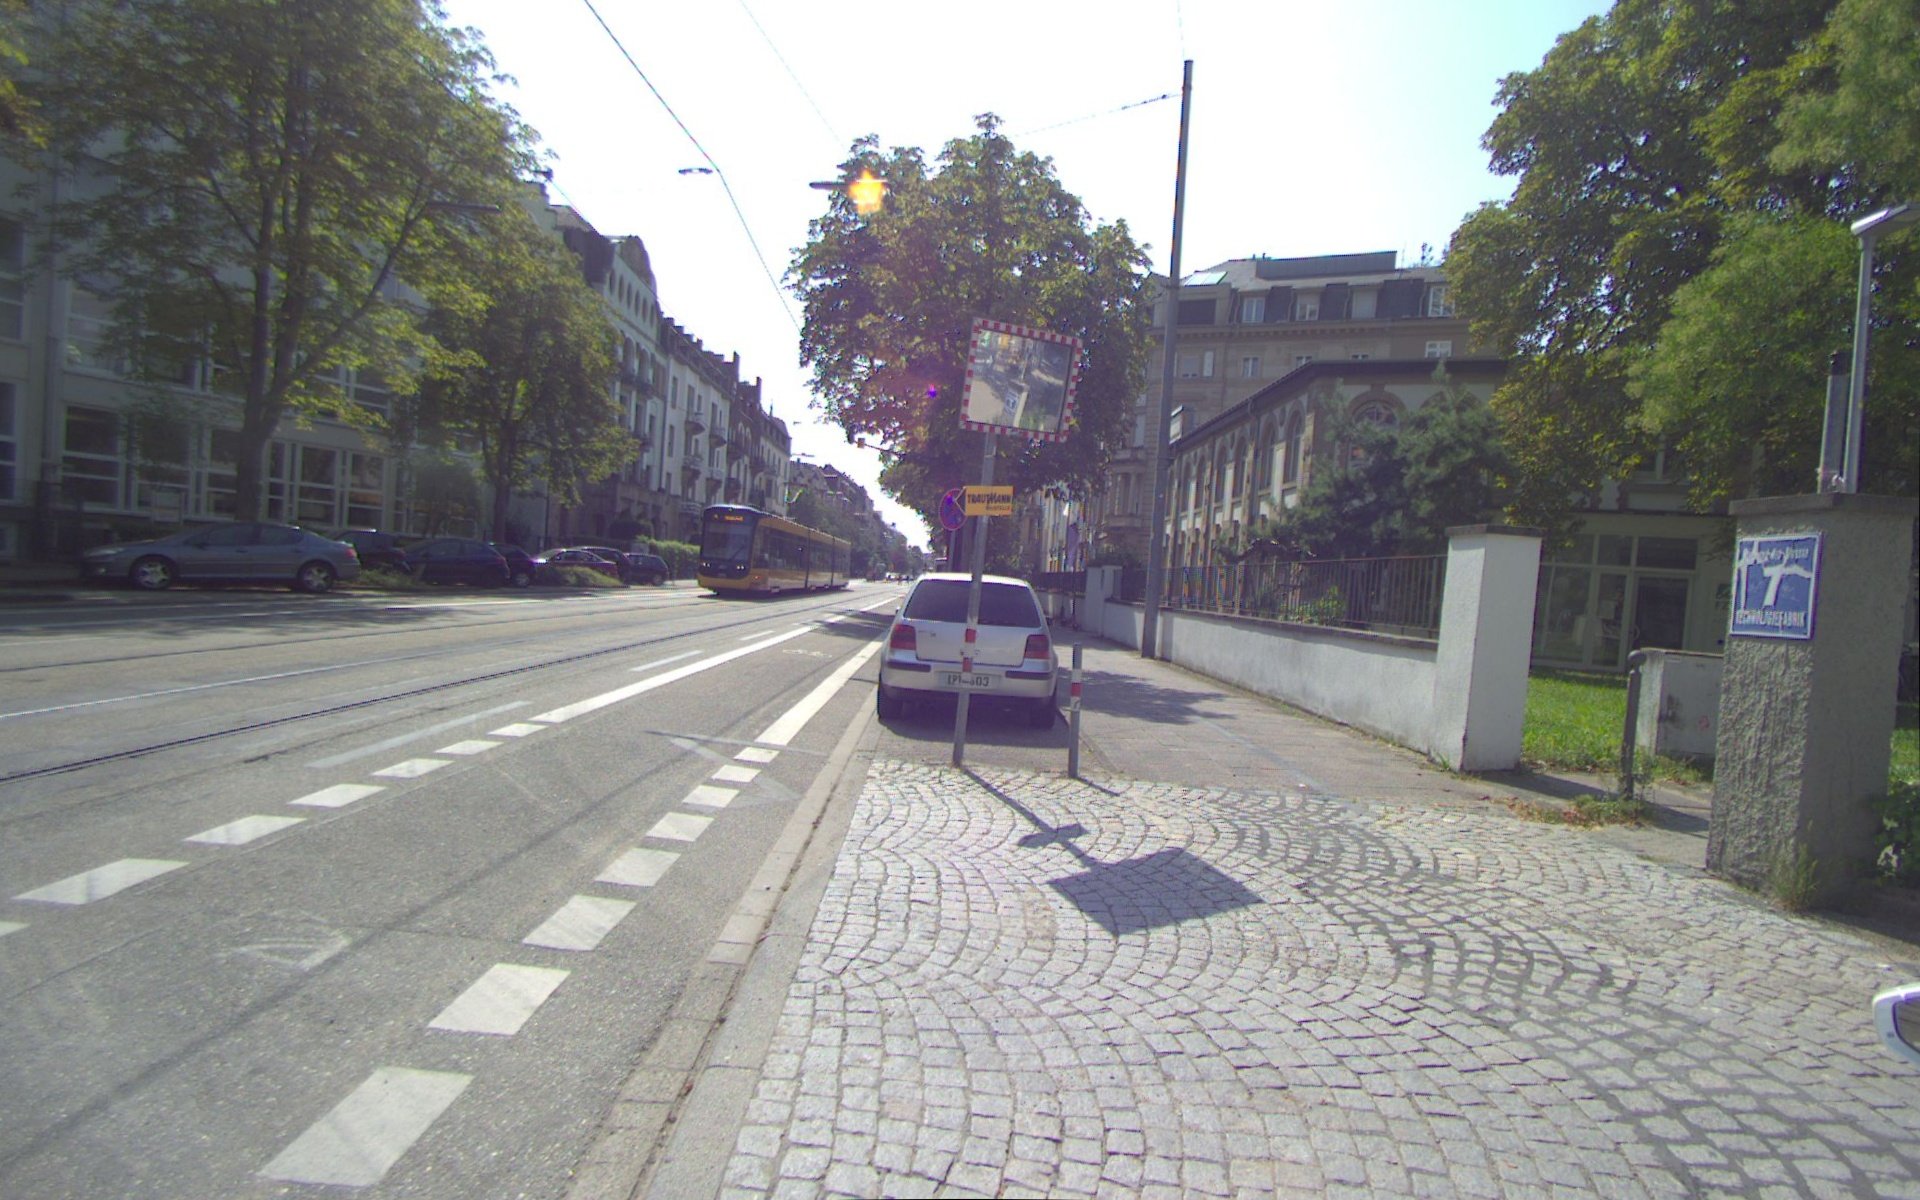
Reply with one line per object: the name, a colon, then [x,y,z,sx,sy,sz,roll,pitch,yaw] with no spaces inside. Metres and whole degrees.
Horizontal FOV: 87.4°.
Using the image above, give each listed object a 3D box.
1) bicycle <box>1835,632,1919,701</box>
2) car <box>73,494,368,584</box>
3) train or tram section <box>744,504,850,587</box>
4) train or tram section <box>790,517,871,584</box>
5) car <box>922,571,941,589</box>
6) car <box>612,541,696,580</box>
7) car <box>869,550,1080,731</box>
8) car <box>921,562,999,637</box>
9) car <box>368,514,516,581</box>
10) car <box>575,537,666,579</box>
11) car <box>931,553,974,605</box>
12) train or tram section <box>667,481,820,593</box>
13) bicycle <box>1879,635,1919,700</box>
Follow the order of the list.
bicycle: [19.682,1.381,21.557,0.758,1.320,2.522,6,1,30]
car: [-15.055,-1.209,20.675,1.653,1.471,4.662,6,3,42]
train or tram section: [-8.620,-2.845,55.147,3.440,3.753,12.410,5,2,0]
train or tram section: [-8.494,-3.207,67.569,3.440,3.753,12.410,5,2,0]
car: [-3.383,-2.358,118.769,1.961,1.824,3.999,6,1,0]
car: [-15.183,-1.953,49.874,3.561,1.595,1.656,4,1,-42]
car: [0.189,0.318,10.653,1.762,1.465,3.733,4,1,2]
car: [-0.003,-0.041,24.301,1.614,1.531,3.640,5,1,0]
car: [-15.416,-1.549,29.958,3.561,1.595,1.656,4,1,-42]
car: [-15.743,-1.950,46.662,3.561,1.595,1.656,4,1,-42]
car: [-0.385,-1.073,51.977,1.961,2.396,3.999,5,1,0]
train or tram section: [-8.737,-2.477,42.715,3.440,3.753,12.410,5,2,0]
bicycle: [20.443,1.444,21.307,0.758,1.320,2.522,6,1,30]
